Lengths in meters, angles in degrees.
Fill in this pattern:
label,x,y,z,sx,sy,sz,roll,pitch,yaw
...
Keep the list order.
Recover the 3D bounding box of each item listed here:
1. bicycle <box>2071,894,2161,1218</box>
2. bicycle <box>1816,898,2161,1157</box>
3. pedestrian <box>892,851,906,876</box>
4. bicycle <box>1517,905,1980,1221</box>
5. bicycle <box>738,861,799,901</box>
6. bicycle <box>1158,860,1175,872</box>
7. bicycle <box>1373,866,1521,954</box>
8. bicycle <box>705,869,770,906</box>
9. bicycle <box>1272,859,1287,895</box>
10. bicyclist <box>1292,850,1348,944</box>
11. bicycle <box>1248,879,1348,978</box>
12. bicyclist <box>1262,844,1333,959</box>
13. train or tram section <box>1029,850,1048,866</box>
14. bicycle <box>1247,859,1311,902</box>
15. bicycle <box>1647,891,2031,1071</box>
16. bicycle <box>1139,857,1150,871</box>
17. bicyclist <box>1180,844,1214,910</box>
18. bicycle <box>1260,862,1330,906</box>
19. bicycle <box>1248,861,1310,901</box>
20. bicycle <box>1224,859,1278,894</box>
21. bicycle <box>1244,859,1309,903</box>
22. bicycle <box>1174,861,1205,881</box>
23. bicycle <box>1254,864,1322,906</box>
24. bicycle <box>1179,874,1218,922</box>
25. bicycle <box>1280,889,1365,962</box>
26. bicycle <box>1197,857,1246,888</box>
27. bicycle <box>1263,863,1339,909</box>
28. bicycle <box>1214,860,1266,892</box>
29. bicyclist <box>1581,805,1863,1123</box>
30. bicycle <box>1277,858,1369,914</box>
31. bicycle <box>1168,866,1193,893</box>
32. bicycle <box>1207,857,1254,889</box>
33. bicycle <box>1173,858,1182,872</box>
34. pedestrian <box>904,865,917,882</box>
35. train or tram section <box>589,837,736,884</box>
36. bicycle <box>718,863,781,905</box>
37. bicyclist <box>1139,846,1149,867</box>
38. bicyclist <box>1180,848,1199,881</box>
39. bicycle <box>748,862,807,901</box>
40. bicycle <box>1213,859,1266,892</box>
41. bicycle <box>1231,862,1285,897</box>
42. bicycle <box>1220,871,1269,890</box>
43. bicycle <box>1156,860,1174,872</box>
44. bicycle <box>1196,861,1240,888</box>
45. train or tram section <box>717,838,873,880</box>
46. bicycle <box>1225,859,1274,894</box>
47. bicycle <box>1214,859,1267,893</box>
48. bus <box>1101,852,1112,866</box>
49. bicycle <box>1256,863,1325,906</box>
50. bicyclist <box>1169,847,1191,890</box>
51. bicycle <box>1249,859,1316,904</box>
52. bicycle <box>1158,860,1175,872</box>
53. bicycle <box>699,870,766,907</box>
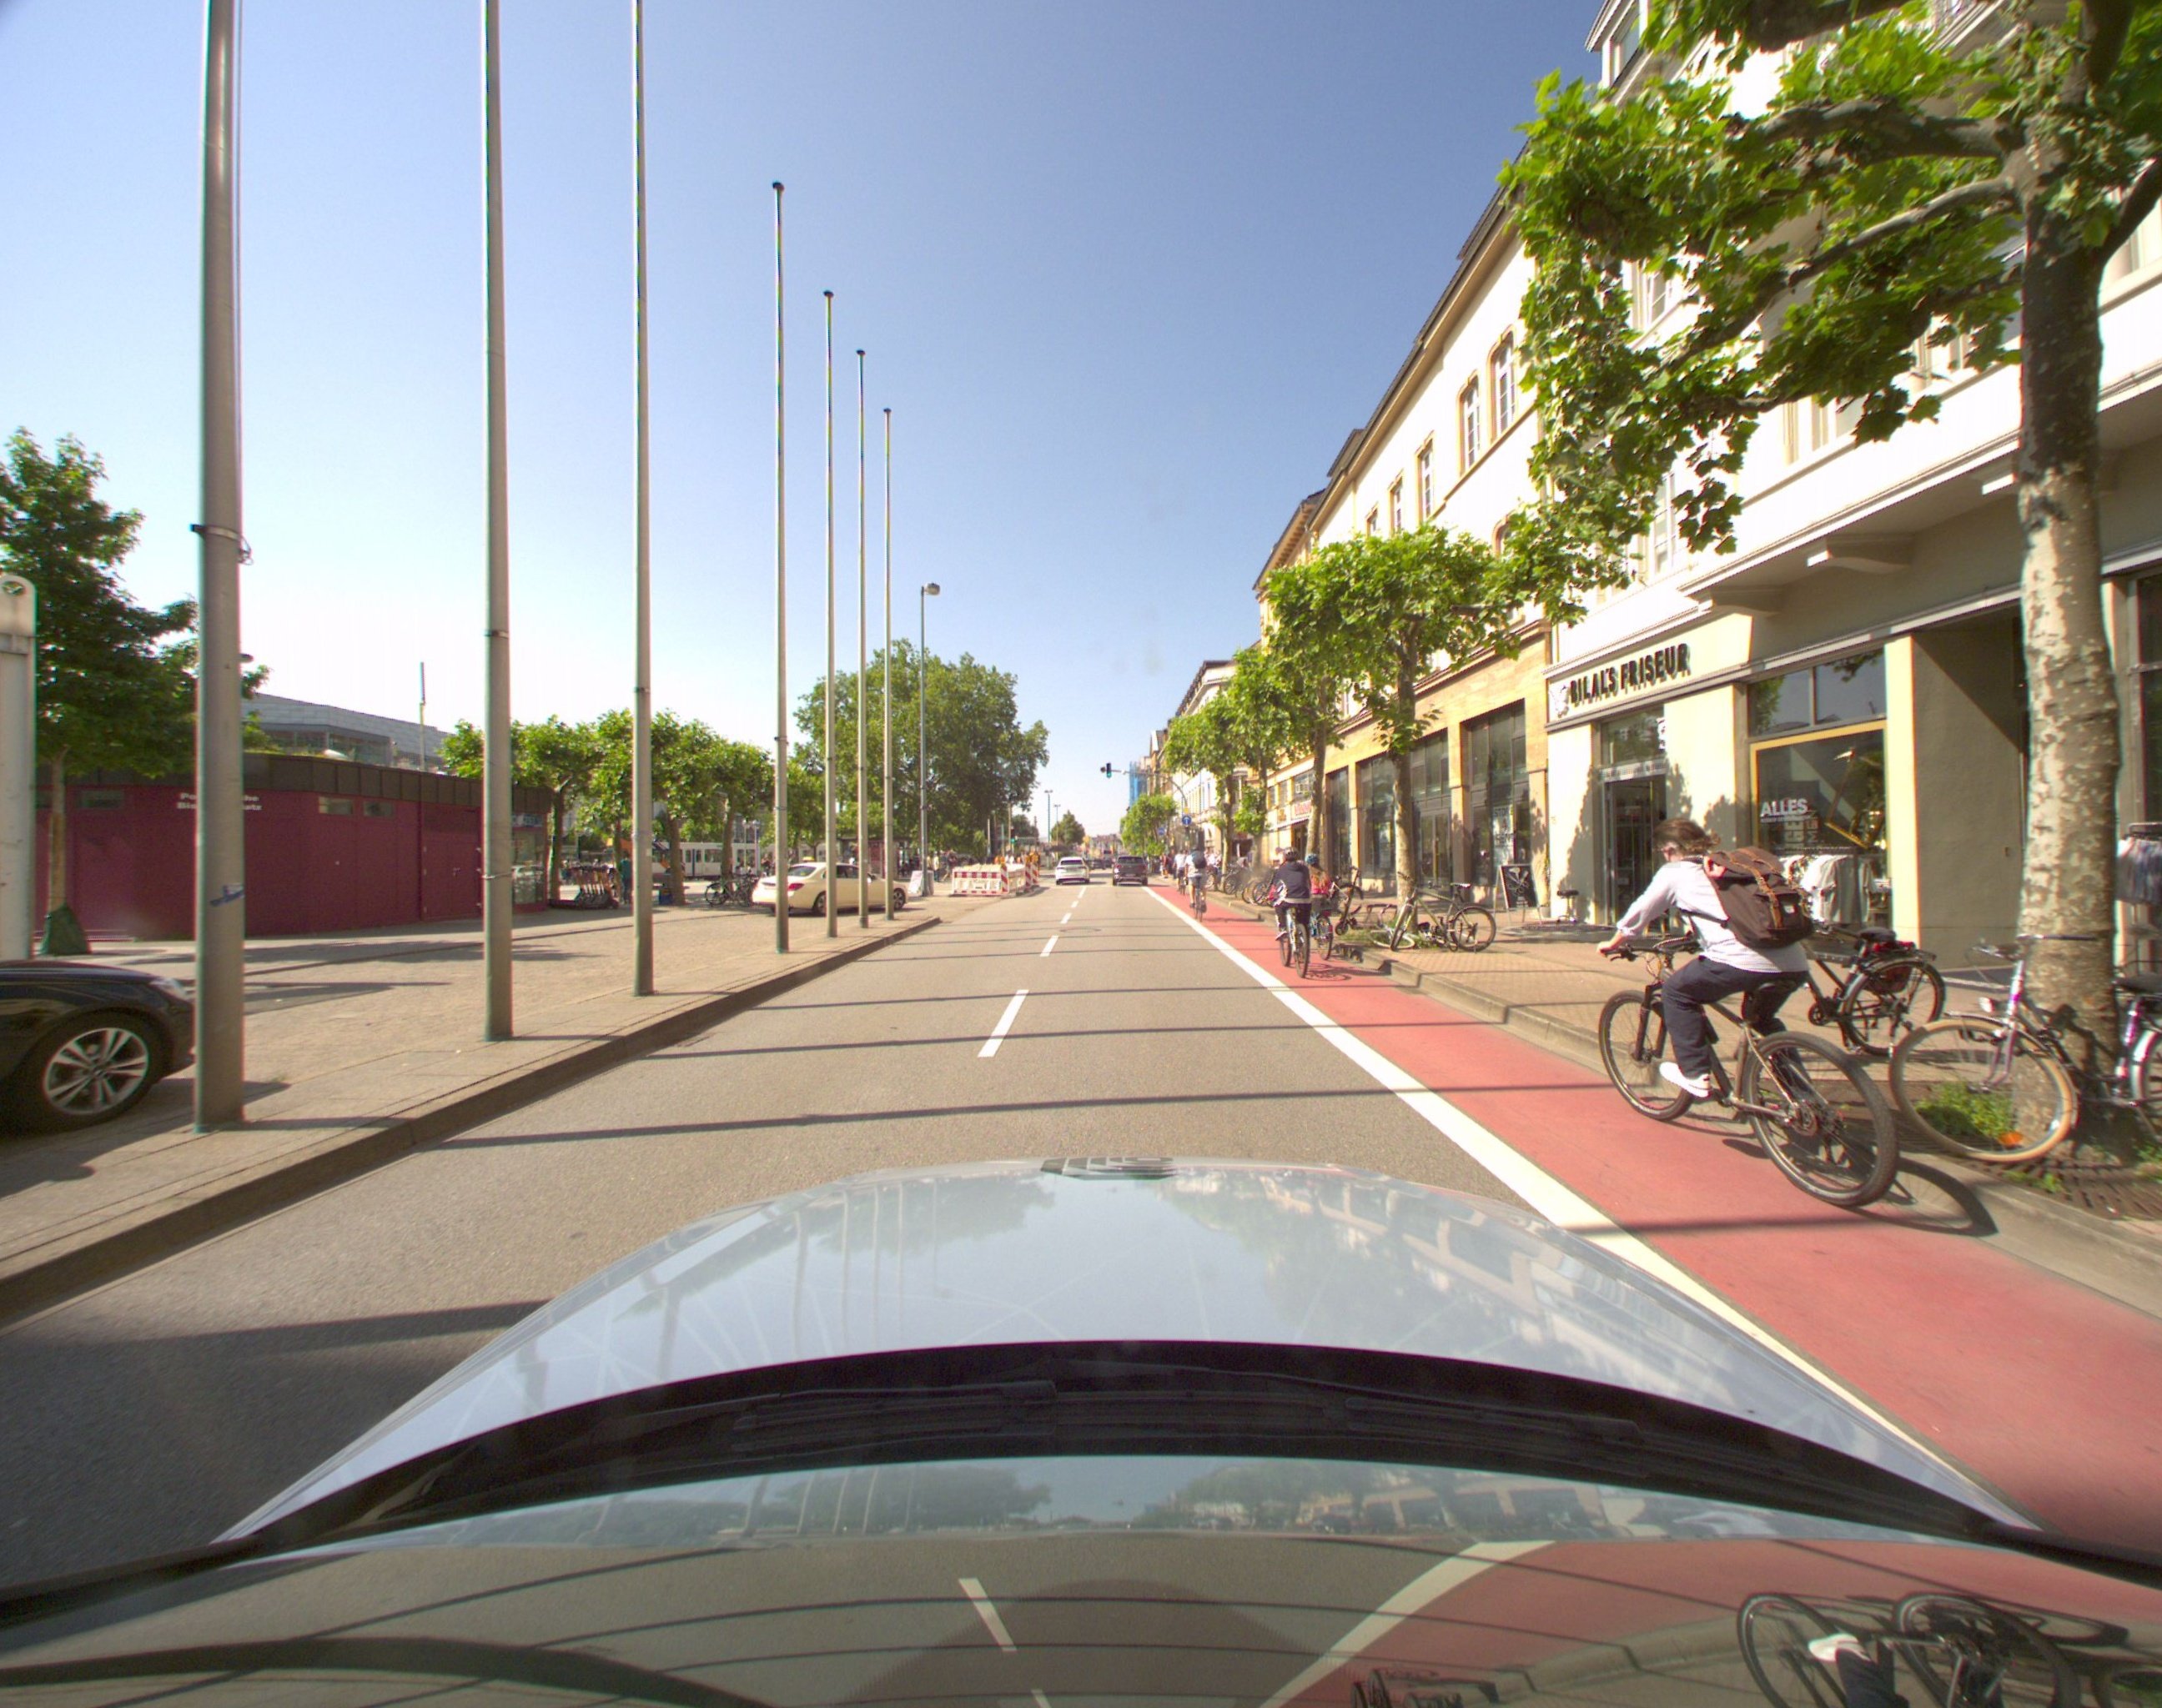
label,x,y,z,sx,sy,sz,roll,pitch,yaw
bicycle,4.943,0.761,2.895,1.829,1.197,0.675,0,-1,8
bicycle,4.809,0.807,3.964,1.827,1.127,0.499,1,-1,12
pedestrian,-13.806,0.709,61.741,0.627,1.810,0.618,-5,-3,21
bicycle,3.223,0.897,4.284,0.696,1.127,2.080,1,0,-2
bicycle,-10.521,0.909,27.426,1.777,1.309,0.662,0,0,-2
bicycle,7.470,1.049,70.829,1.415,0.980,0.401,-2,0,2
bicycle,5.234,0.781,11.724,1.830,1.186,0.671,1,-1,6
bicycle,-10.770,1.044,25.569,1.777,1.132,0.562,0,0,-2
bicycle,6.839,0.779,28.082,0.469,1.188,1.660,-1,0,13
bicyclist,3.555,0.632,12.155,0.598,1.358,0.720,1,-1,-2
bicycle,2.806,0.922,10.763,0.696,1.127,2.080,1,0,-2
bicyclist,2.814,0.604,10.650,0.696,1.440,0.790,1,-1,-2
train or tram section,-9.367,0.951,179.115,2.600,3.348,11.017,0,0,5
bicycle,5.722,0.770,23.564,1.721,1.217,0.478,0,0,3
bicycle,5.110,0.821,5.615,1.830,1.097,0.795,0,-1,6
bicycle,4.677,0.741,60.137,0.645,0.998,2.031,-1,0,1
bicyclist,2.685,0.520,18.866,0.628,1.481,1.198,0,0,1
bicycle,5.547,0.779,21.155,1.721,1.109,0.403,0,0,3
bicycle,5.845,0.799,24.047,1.721,1.162,0.478,0,0,3
bicycle,5.985,0.785,28.706,1.836,1.201,0.475,0,0,3
bicycle,5.522,0.766,23.076,1.721,1.217,0.478,0,0,3
bicycle,6.036,0.928,45.274,0.604,1.082,1.820,-3,0,-33
bicycle,5.582,0.827,21.988,1.721,1.109,0.478,0,0,3
bicycle,2.689,0.983,18.861,0.628,0.980,2.089,0,0,1
bicycle,3.551,1.022,12.153,0.598,0.926,2.086,1,-1,-1
bicycle,5.924,0.785,34.435,1.938,1.257,0.701,0,0,-18
bicycle,5.472,0.786,20.304,1.721,1.109,0.737,0,0,3
bicycle,5.960,0.820,30.650,1.836,1.164,0.660,0,0,3
bicyclist,3.225,0.503,4.200,0.696,1.446,0.960,1,-1,-2
bicycle,5.563,0.734,18.821,1.923,1.248,0.737,0,0,3
bicycle,3.898,0.987,32.080,0.771,1.006,2.330,-1,0,2
bicycle,6.213,0.773,33.832,1.826,1.309,0.684,0,0,-19
bicycle,8.105,0.942,68.383,0.396,1.114,1.433,-2,0,22
pedestrian,-13.070,1.474,62.501,0.627,1.293,0.735,-1,-1,22
train or tram section,-35.038,0.471,68.863,2.587,3.677,11.072,-1,0,37
bicycle,-10.642,0.954,26.139,1.777,1.309,0.562,0,0,-2
bicyclist,4.676,0.212,60.231,0.645,1.551,0.818,-1,-1,1
bicyclist,6.020,0.567,45.270,0.577,1.797,0.848,-3,0,-33
bicycle,-10.562,0.947,28.360,1.777,1.309,0.662,0,0,-2
bicycle,5.823,0.795,30.021,1.836,1.201,0.609,0,0,3
bicycle,5.808,0.833,26.772,1.642,1.095,0.607,0,0,3
bicycle,6.409,1.040,31.923,1.850,0.716,0.655,0,0,-20
bicycle,7.122,1.046,68.990,1.415,0.980,0.445,-2,0,2
bicycle,5.927,0.879,35.315,1.777,1.122,0.562,-1,0,-2
train or tram section,-27.323,0.454,79.379,2.587,3.676,15.647,-1,0,36
bicycle,5.846,0.783,28.295,1.642,1.201,0.475,0,0,3
bicycle,5.772,0.787,29.516,1.836,1.201,0.545,0,0,3
bus,6.953,1.473,223.189,2.984,3.594,11.745,-1,-1,1
bicycle,5.535,0.809,21.570,1.721,1.109,0.403,0,0,3
bicyclist,3.886,0.557,32.064,0.771,1.635,0.851,-1,0,1
bicycle,5.509,0.753,22.351,1.721,1.217,0.478,0,0,3
bicycle,7.287,1.044,69.448,1.415,0.980,0.445,-2,0,2
bicycle,-10.637,1.040,24.878,1.777,1.105,0.562,0,0,-2
